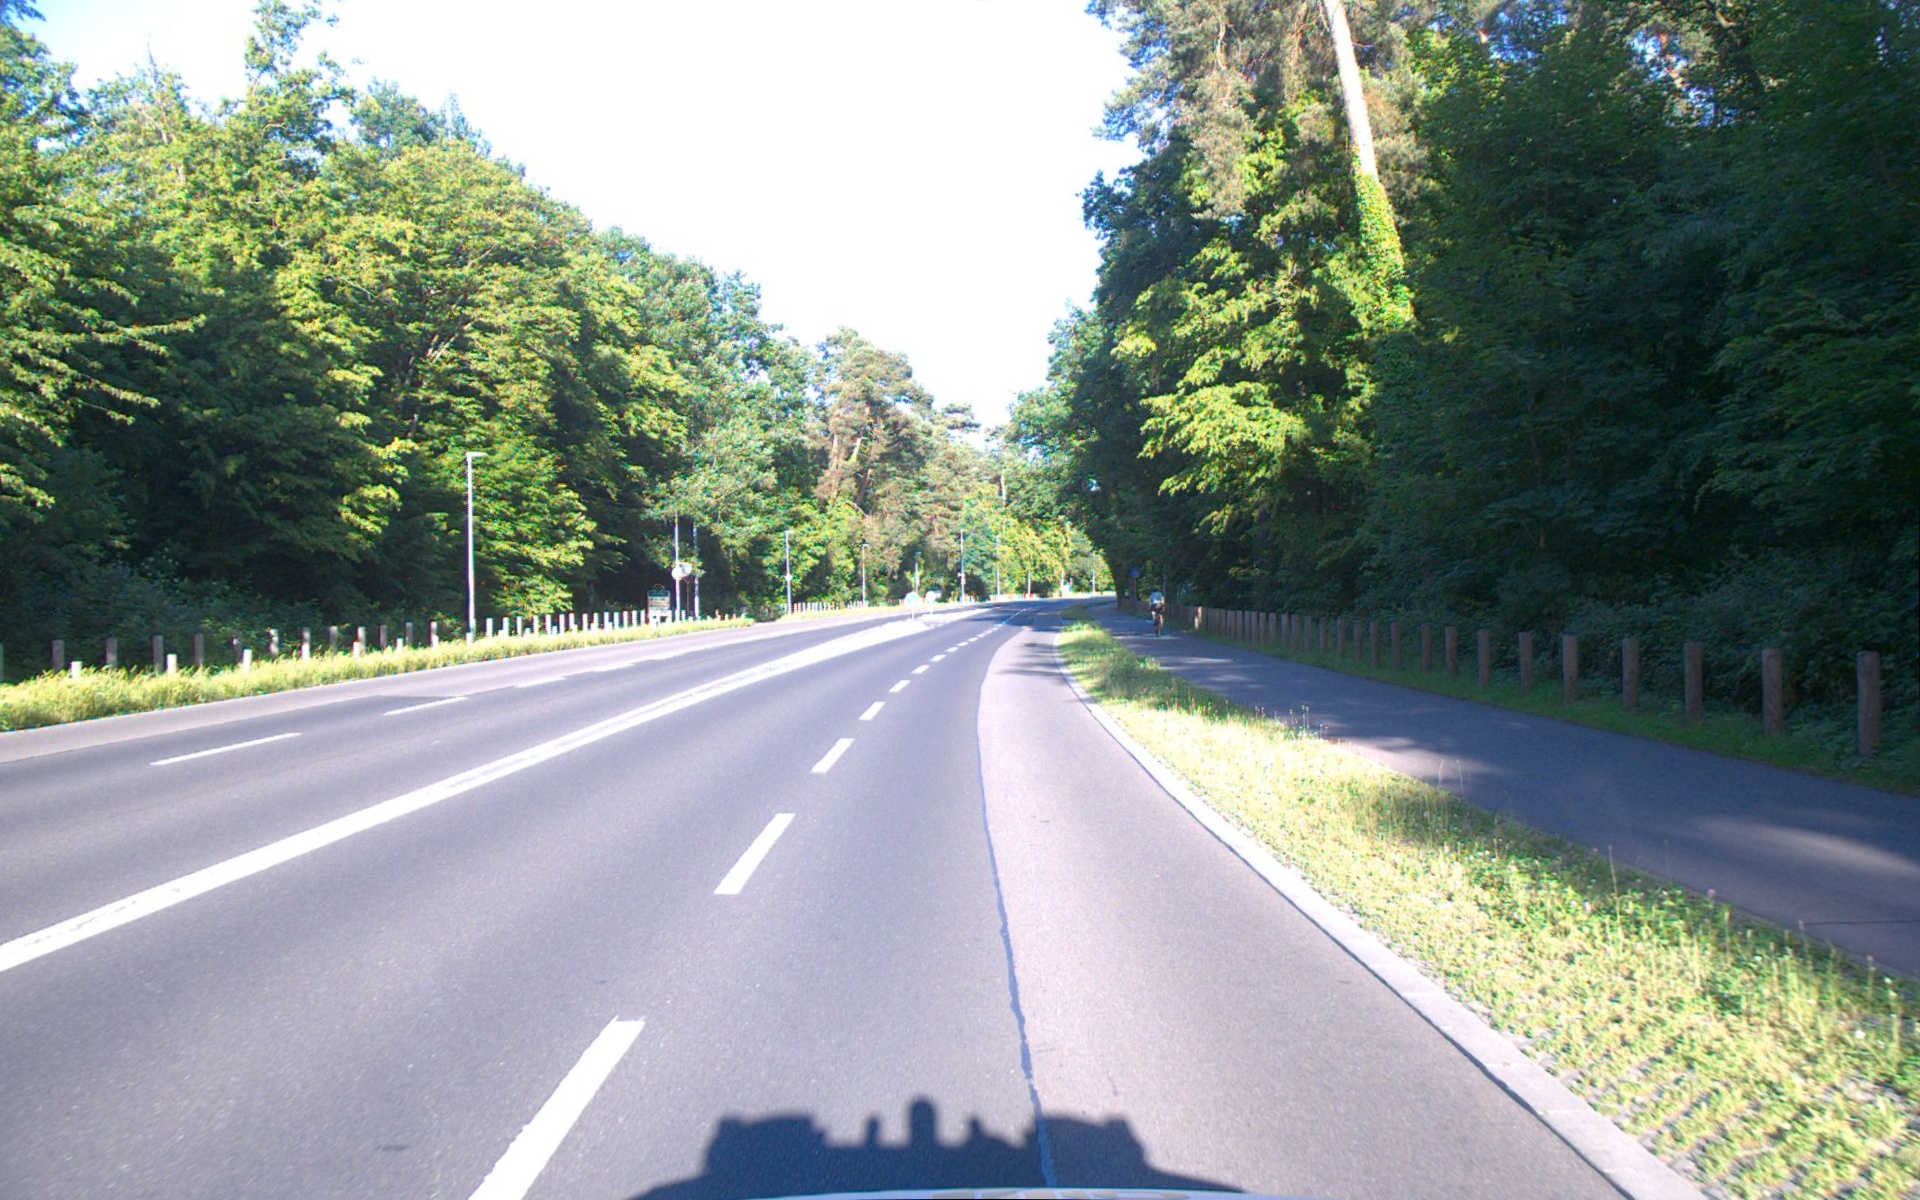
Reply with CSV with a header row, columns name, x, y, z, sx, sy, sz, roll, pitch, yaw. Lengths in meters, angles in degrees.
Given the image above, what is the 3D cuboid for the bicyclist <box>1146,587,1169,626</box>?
name,x,y,z,sx,sy,sz,roll,pitch,yaw
bicyclist,6.773,0.227,56.784,0.697,1.311,1.105,0,-1,4

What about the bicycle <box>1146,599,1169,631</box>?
name,x,y,z,sx,sy,sz,roll,pitch,yaw
bicycle,6.768,0.531,56.753,0.697,1.074,2.054,0,-1,4
